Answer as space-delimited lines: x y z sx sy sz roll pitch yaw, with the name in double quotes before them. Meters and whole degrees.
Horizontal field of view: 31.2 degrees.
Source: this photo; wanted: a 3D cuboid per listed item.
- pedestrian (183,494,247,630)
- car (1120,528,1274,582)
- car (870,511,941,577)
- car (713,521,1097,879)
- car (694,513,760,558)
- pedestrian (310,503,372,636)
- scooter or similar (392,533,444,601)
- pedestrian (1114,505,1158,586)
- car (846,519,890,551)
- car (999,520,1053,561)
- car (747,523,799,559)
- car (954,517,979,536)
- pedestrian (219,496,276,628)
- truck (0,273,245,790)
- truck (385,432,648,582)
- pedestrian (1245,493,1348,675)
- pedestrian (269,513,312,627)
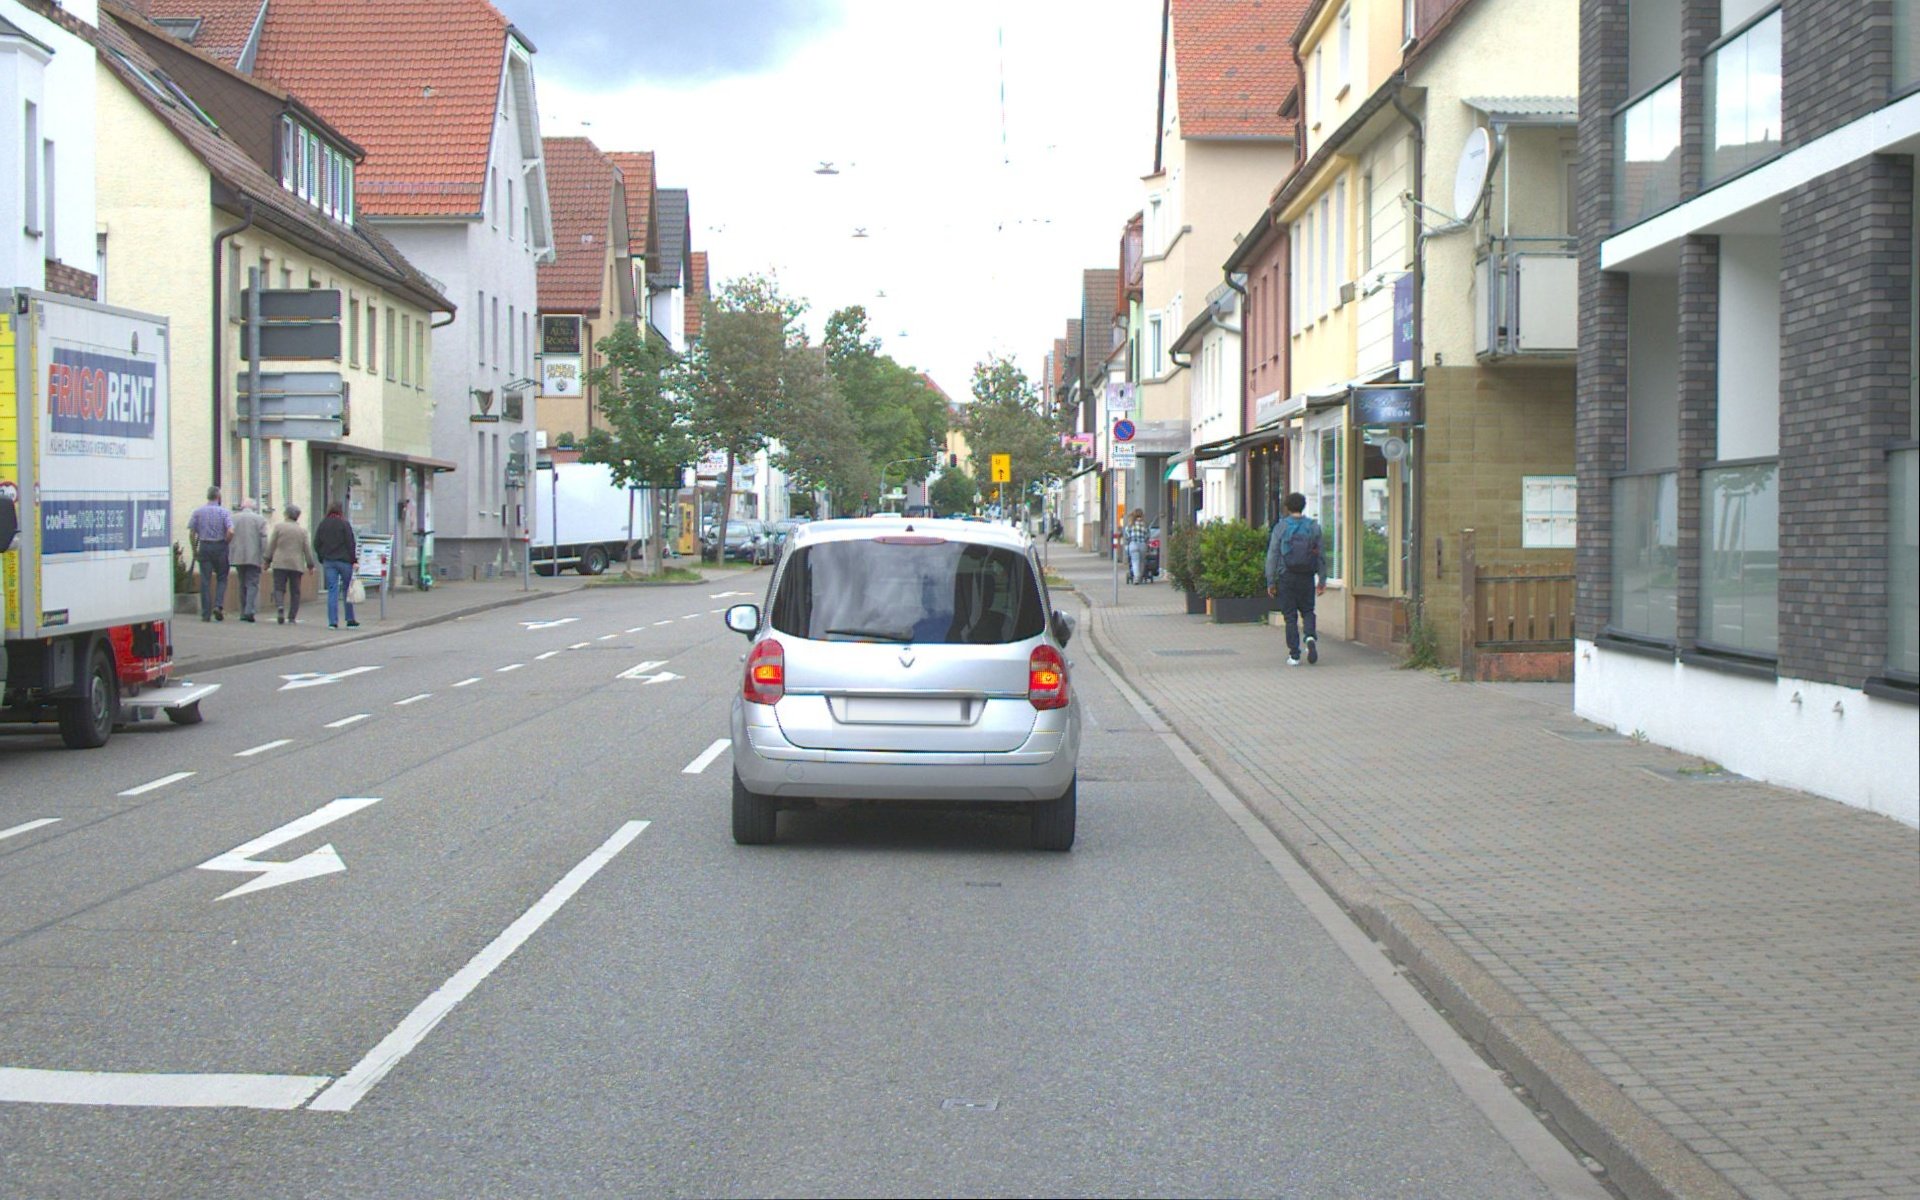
"pedestrian" -9.806 -0.505 45.290 0.648 1.751 0.688 2 2 0
"car" 6.285 -1.189 91.054 3.729 1.309 1.521 1 1 -21
"car" -1.357 -1.426 86.291 1.706 1.573 4.000 2 1 -1
"car" -0.276 0.414 17.759 1.706 1.573 4.000 2 1 -1
"car" -7.379 -2.057 109.142 1.812 1.349 4.000 -1 2 0
"pedestrian" -8.287 -0.412 46.022 0.662 1.751 0.688 2 2 0
"scooter or similar" -10.478 -0.650 66.524 0.575 1.265 2.548 -1 2 0
"pedestrian" 3.973 -1.236 77.689 0.889 1.780 0.785 -2 2 0
"car" -4.058 -2.875 151.970 1.812 1.349 3.857 -1 2 0
"car" 2.290 -2.086 119.884 1.812 1.349 4.000 -1 2 0
"car" -7.377 -2.342 135.896 1.812 1.349 4.000 -1 2 0
"car" 0.476 -5.349 250.338 1.812 1.349 4.000 -1 2 0
"pedestrian" -9.624 -0.516 46.472 0.579 1.751 0.688 2 2 0
"truck" -6.723 -0.458 22.428 2.435 2.943 8.365 0 1 -1
"truck" -11.746 -2.495 91.575 2.602 3.844 6.831 1 2 43
"pedestrian" 3.400 -0.170 34.801 0.889 1.780 0.785 -2 2 0
"pedestrian" -9.014 -0.409 46.289 0.426 1.520 0.553 2 2 0
